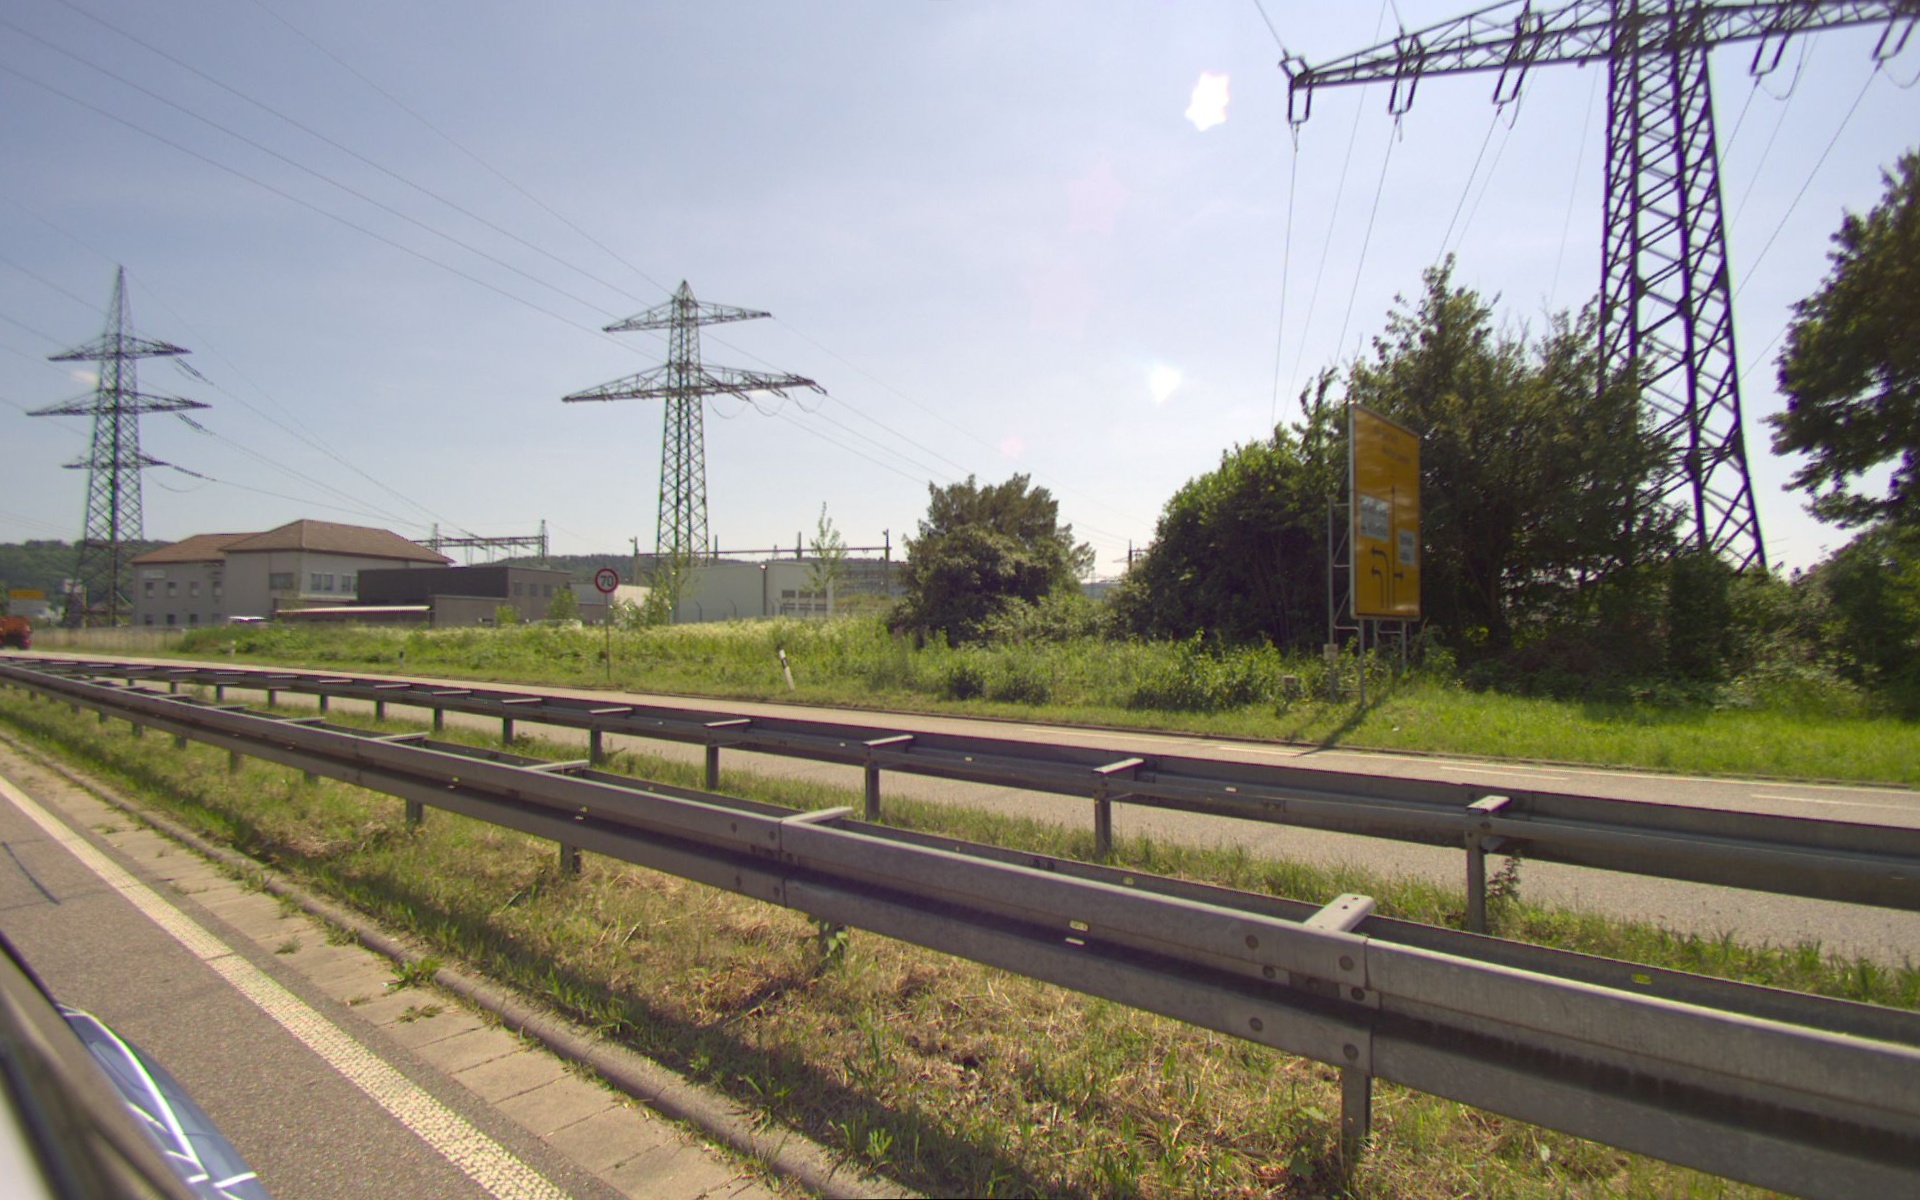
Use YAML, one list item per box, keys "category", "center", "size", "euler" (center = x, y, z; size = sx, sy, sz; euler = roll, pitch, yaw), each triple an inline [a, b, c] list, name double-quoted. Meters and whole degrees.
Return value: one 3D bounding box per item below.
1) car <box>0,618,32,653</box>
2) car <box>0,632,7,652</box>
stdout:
- category: "car"
  center: [-87.450, 3.271, 92.925]
  size: [5.634, 3.084, 2.574]
  euler: [-2, -3, 40]
- category: "car"
  center: [-95.342, 4.106, 99.330]
  size: [3.993, 1.929, 1.975]
  euler: [-1, 0, 37]
